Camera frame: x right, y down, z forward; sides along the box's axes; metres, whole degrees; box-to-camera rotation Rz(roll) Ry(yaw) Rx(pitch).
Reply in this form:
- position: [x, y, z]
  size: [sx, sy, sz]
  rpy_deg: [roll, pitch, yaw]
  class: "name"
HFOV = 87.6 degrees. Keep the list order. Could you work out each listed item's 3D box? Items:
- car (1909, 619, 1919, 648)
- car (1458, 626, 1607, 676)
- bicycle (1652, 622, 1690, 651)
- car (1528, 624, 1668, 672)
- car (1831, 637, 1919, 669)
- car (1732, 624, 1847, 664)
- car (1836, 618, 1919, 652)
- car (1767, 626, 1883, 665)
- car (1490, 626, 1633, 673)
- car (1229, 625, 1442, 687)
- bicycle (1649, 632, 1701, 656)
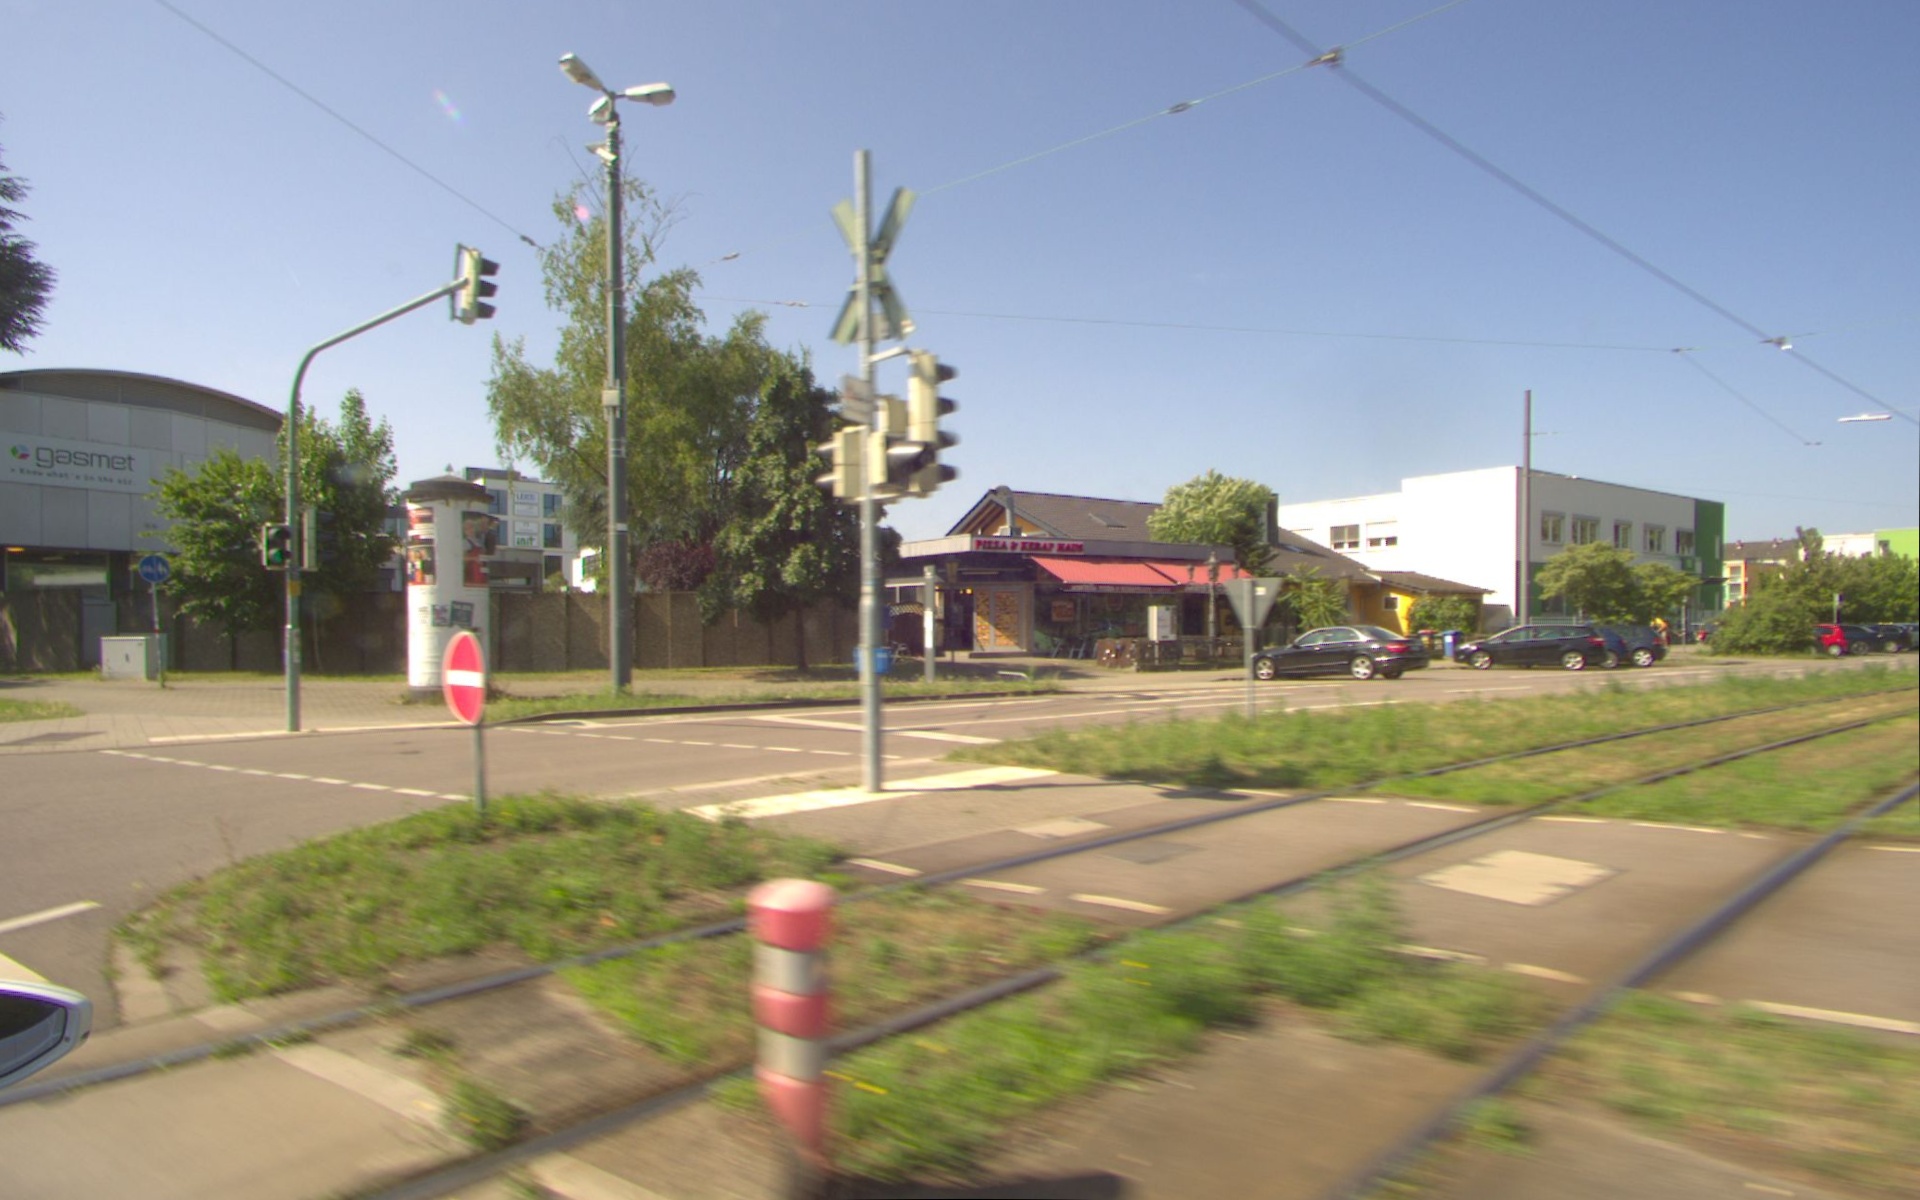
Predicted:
- position: [64.139, 2.191, 64.495]
  size: [3.936, 1.816, 1.994]
  rpy_deg: [0, -2, 27]
  class: "car"
- position: [18.753, 1.653, 33.006]
  size: [4.141, 1.518, 2.135]
  rpy_deg: [0, -2, 28]
  class: "car"
- position: [33.237, 1.714, 46.829]
  size: [0.766, 1.343, 1.214]
  rpy_deg: [1, -1, -25]
  class: "bicycle"
- position: [23.183, 1.713, 36.616]
  size: [4.141, 1.640, 2.135]
  rpy_deg: [0, -1, 28]
  class: "car"
- position: [48.275, 2.757, 52.632]
  size: [3.385, 1.556, 1.565]
  rpy_deg: [0, -1, 21]
  class: "car"
- position: [39.984, 2.136, 48.386]
  size: [3.936, 1.816, 1.994]
  rpy_deg: [0, -2, 27]
  class: "car"
- position: [52.503, 2.010, 56.713]
  size: [3.936, 1.816, 1.994]
  rpy_deg: [0, -2, 27]
  class: "car"
- position: [42.787, 2.247, 49.643]
  size: [3.936, 1.816, 1.994]
  rpy_deg: [0, -2, 27]
  class: "car"
- position: [20.795, 1.682, 34.841]
  size: [4.141, 1.518, 2.135]
  rpy_deg: [0, -2, 28]
  class: "car"
- position: [10.147, 1.488, 27.420]
  size: [2.119, 1.517, 5.077]
  rpy_deg: [1, -3, -40]
  class: "car"
- position: [33.541, 2.055, 46.954]
  size: [2.095, 1.060, 1.107]
  rpy_deg: [1, -1, -26]
  class: "bicycle"
